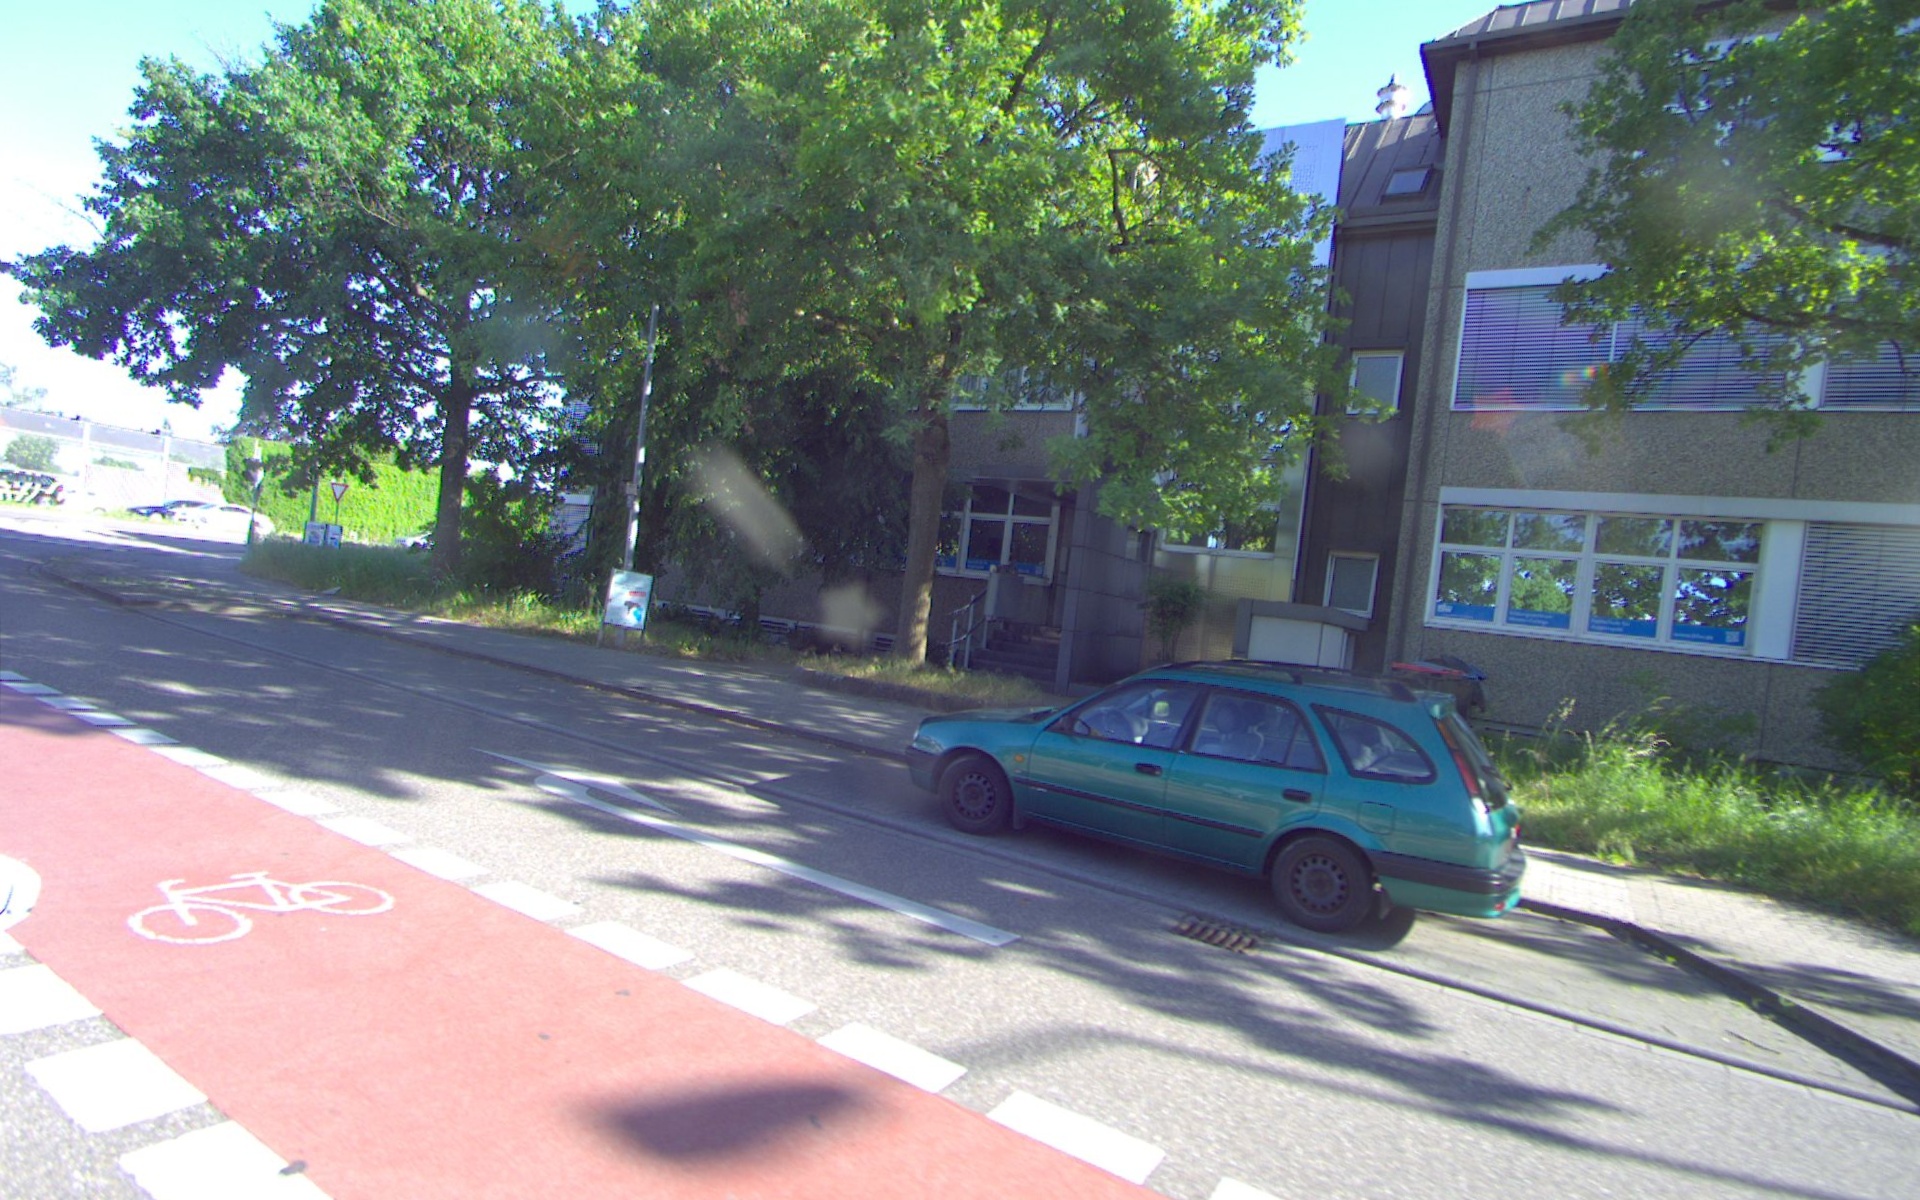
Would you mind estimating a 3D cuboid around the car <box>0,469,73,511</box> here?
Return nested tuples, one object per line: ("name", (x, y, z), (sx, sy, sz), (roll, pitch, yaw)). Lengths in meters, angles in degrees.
("car", (-39.306, -4.692, 41.176), (1.548, 1.317, 4.170), (6, -2, 28))

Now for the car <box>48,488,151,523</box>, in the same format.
("car", (-45.250, -4.964, 52.966), (1.548, 1.150, 3.764), (7, -1, 29))

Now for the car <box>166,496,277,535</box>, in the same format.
("car", (-37.968, -4.325, 51.810), (1.548, 1.318, 4.297), (7, -1, 28))

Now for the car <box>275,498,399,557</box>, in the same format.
("car", (-19.685, -2.255, 31.943), (1.433, 1.311, 3.411), (7, -2, 7))

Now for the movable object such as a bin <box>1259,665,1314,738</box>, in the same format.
("movable object such as a bin", (4.970, 1.539, 15.309), (0.567, 1.019, 0.629), (6, -1, 31))

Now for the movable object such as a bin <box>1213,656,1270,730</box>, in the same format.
("movable object such as a bin", (4.370, 1.438, 15.601), (0.571, 1.045, 0.713), (7, 1, 31))

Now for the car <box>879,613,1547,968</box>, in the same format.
("car", (1.610, 1.052, 7.041), (4.135, 1.447, 1.593), (7, 1, 33))

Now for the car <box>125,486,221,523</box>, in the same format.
("car", (-41.197, -4.966, 52.729), (1.548, 1.318, 3.529), (7, 0, 29))

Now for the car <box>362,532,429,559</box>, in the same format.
("car", (-37.409, -3.614, 66.762), (1.330, 1.280, 3.589), (7, -1, 30))
